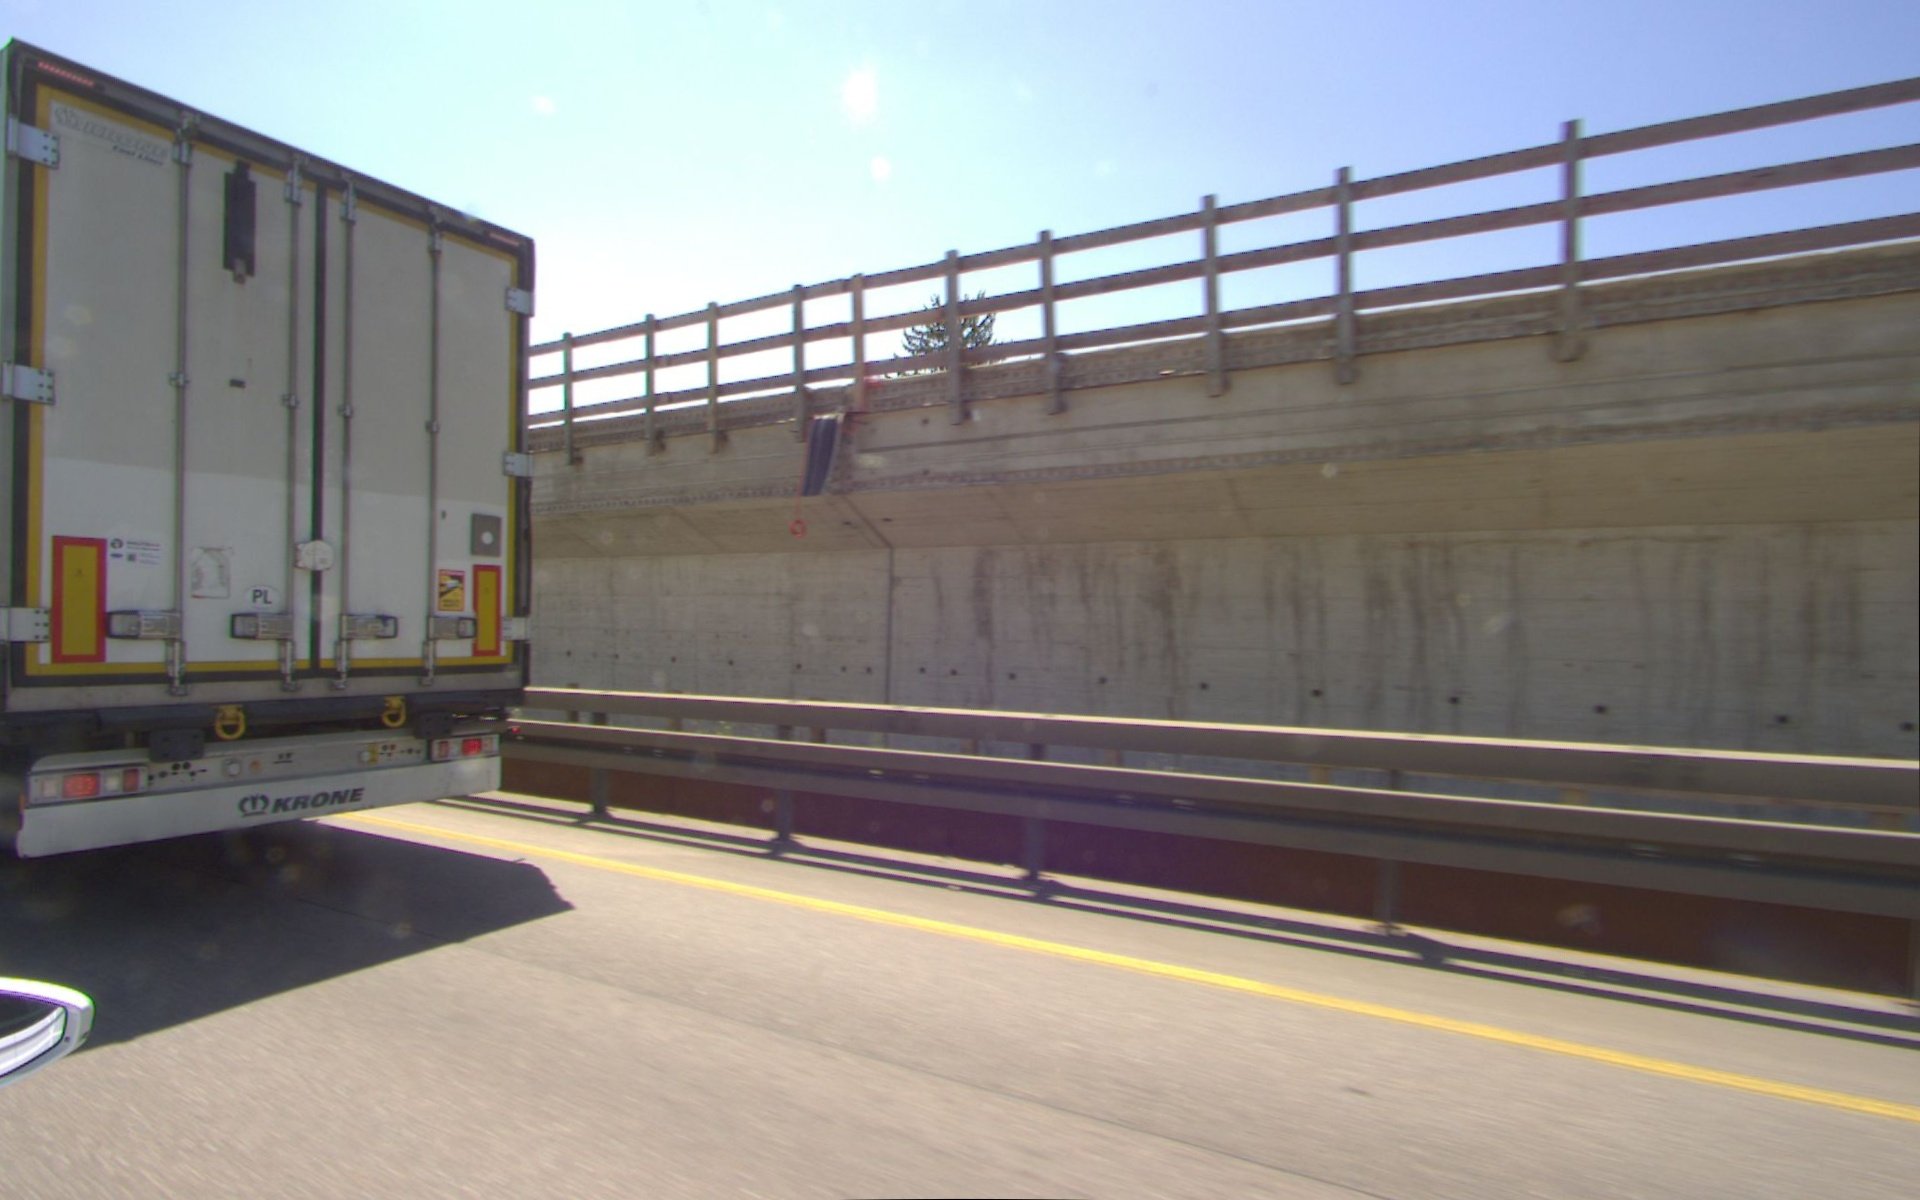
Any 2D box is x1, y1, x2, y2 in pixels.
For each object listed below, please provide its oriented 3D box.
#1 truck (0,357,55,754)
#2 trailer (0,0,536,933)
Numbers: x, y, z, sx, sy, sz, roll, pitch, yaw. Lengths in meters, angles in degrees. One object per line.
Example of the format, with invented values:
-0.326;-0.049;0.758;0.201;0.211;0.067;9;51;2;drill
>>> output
-13.713;-0.406;11.754;8.120;4.077;2.509;-1;-1;32;truck
-8.223;-0.551;8.340;11.380;4.180;2.528;-1;-1;32;trailer
